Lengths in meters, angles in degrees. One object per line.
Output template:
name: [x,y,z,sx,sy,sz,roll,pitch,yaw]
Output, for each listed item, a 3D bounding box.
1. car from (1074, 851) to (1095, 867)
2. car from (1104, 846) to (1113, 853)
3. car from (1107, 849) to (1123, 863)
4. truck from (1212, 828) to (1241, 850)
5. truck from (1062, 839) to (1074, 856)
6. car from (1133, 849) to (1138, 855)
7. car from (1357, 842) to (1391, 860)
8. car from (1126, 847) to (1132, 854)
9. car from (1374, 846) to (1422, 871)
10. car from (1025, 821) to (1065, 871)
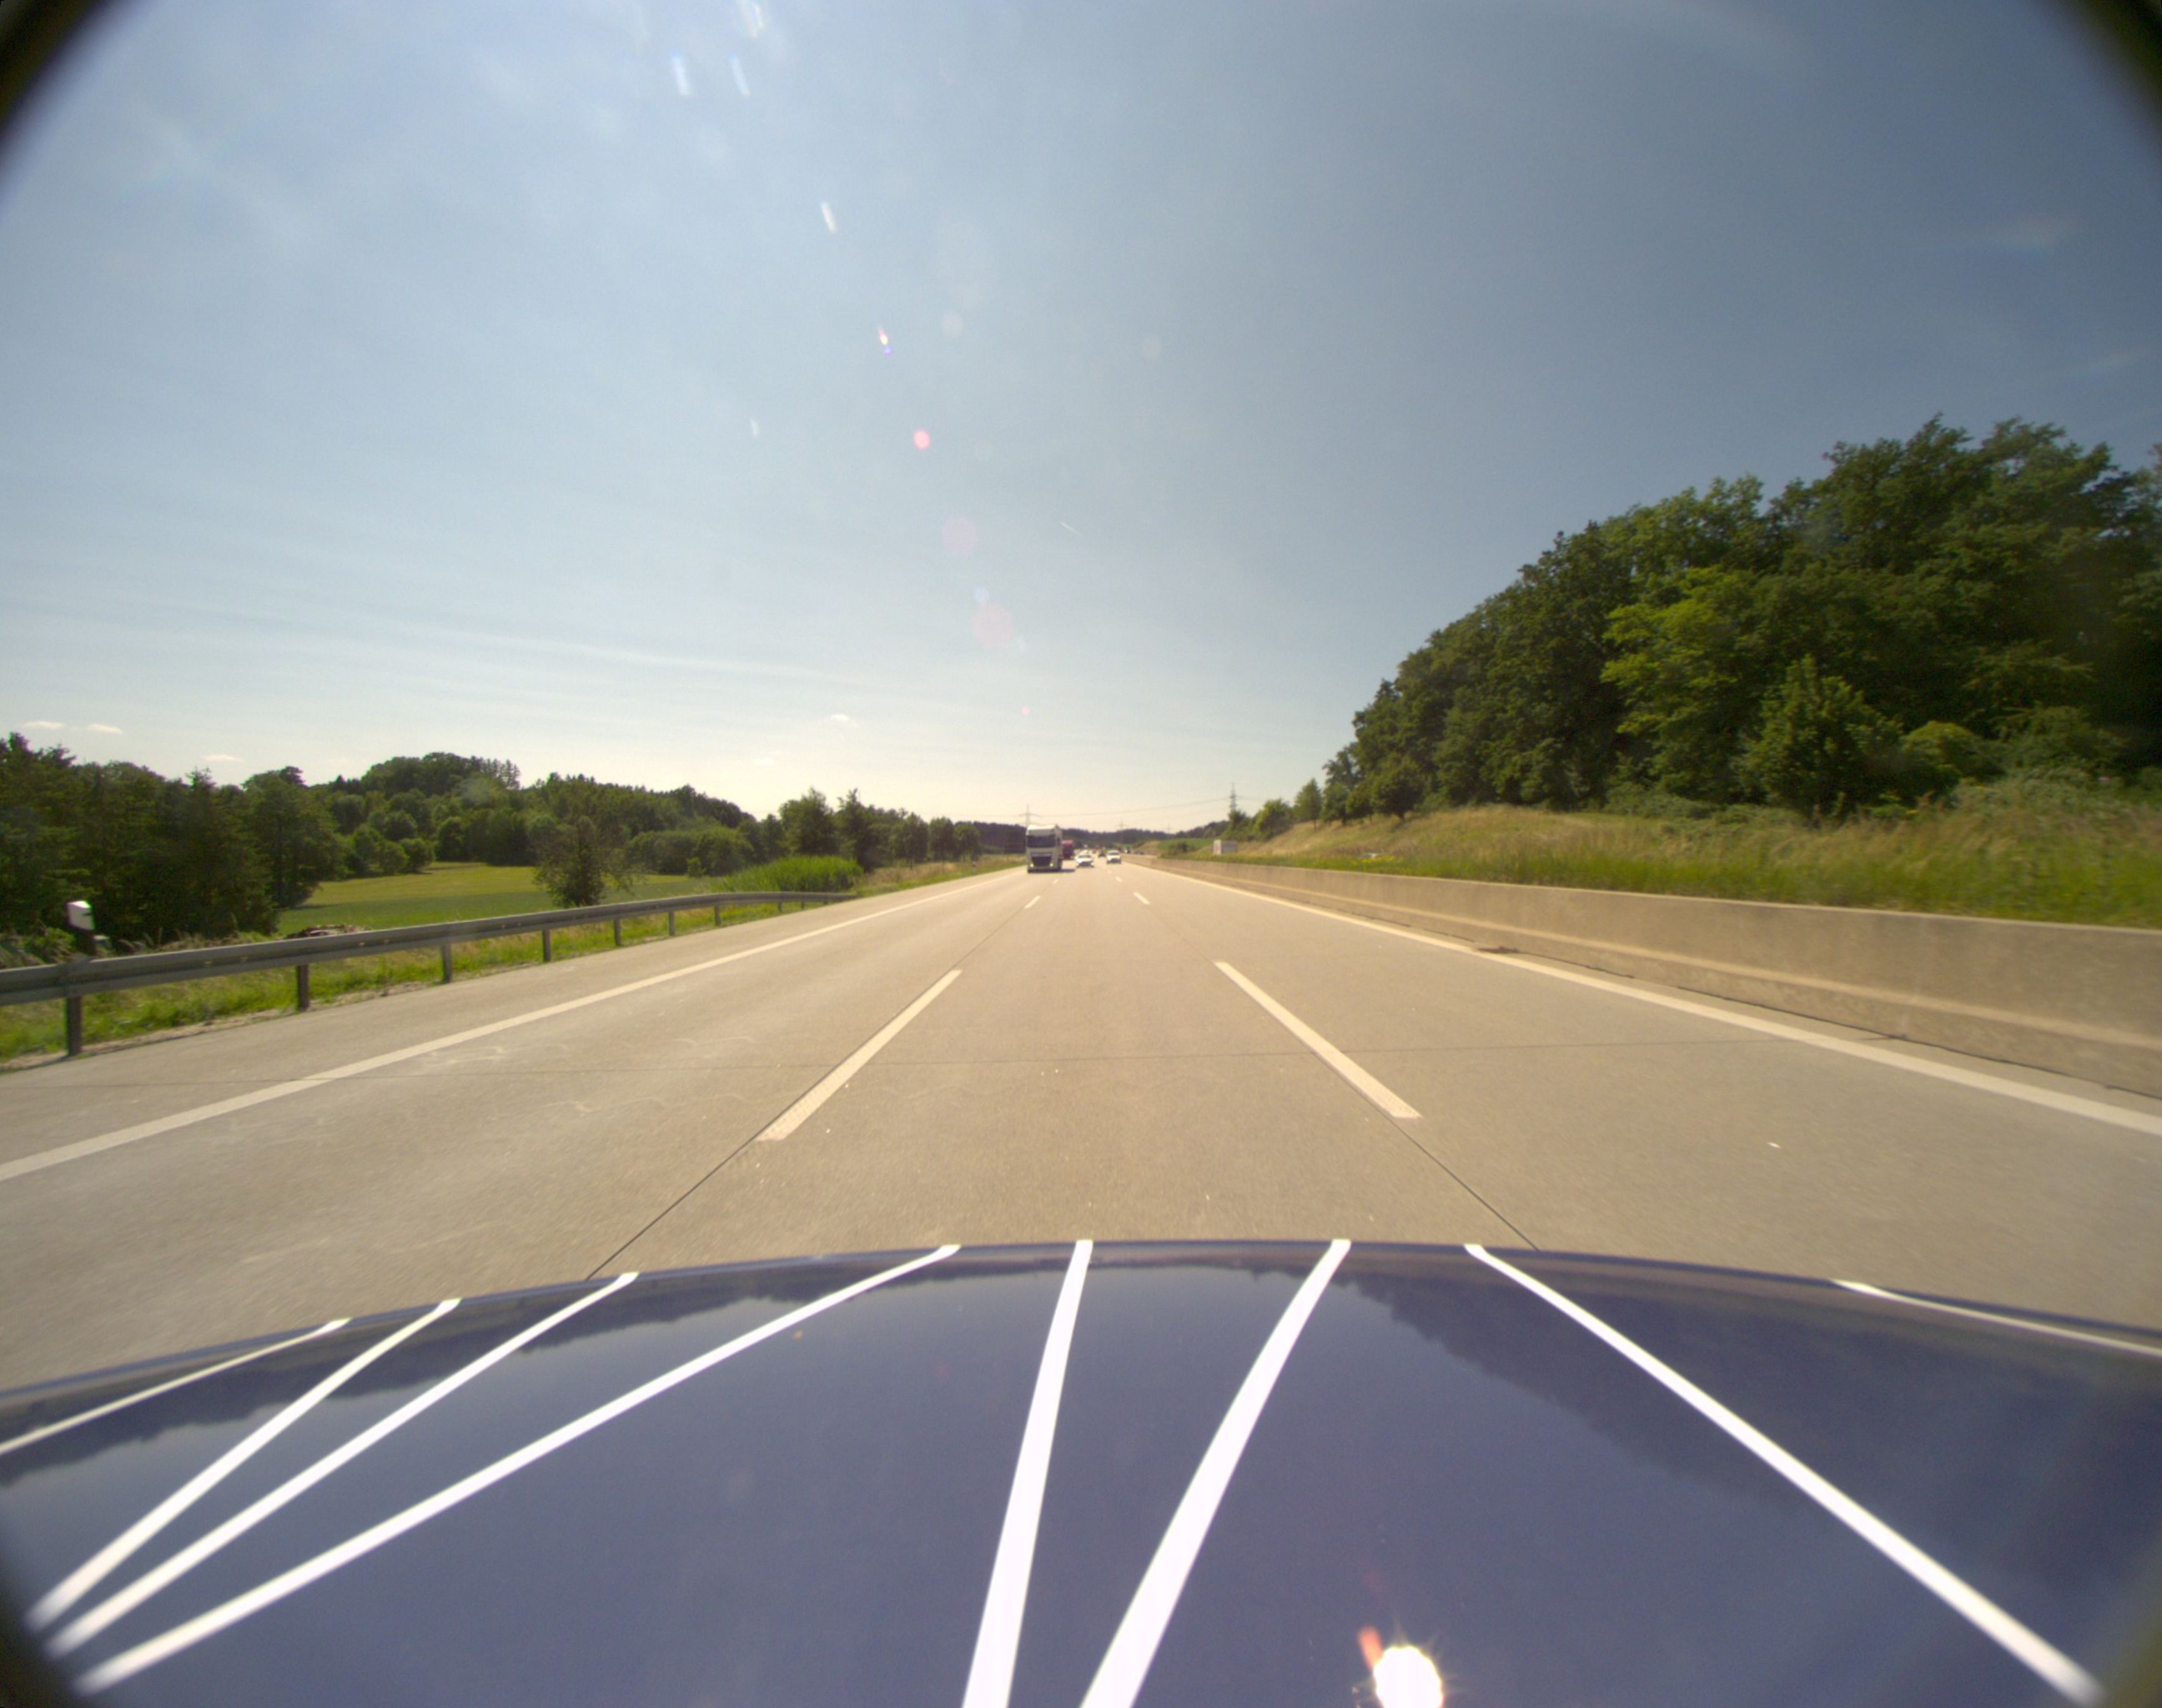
car: [0.373,0.525,80.773,2.065,1.472,5.068,-5,1,0]
car: [6.959,-1.152,190.142,1.998,1.836,6.529,-3,1,1]
car: [4.529,0.258,101.124,1.850,1.698,6.035,-2,1,1]
truck: [22.597,-2.310,118.362,2.902,3.333,8.258,0,1,1]
truck: [-2.716,-1.359,157.589,2.351,3.474,5.245,-3,1,0]
car: [18.599,-0.753,260.972,1.525,2.002,3.151,-2,1,1]
car: [26.315,-0.280,68.377,1.500,1.392,3.628,-5,0,0]
car: [15.322,-1.172,241.777,1.525,2.002,3.151,-2,1,1]
car: [20.433,0.263,49.098,1.500,1.392,3.628,-5,0,0]
car: [-3.014,-0.682,67.029,2.766,4.029,10.851,-1,1,1]
